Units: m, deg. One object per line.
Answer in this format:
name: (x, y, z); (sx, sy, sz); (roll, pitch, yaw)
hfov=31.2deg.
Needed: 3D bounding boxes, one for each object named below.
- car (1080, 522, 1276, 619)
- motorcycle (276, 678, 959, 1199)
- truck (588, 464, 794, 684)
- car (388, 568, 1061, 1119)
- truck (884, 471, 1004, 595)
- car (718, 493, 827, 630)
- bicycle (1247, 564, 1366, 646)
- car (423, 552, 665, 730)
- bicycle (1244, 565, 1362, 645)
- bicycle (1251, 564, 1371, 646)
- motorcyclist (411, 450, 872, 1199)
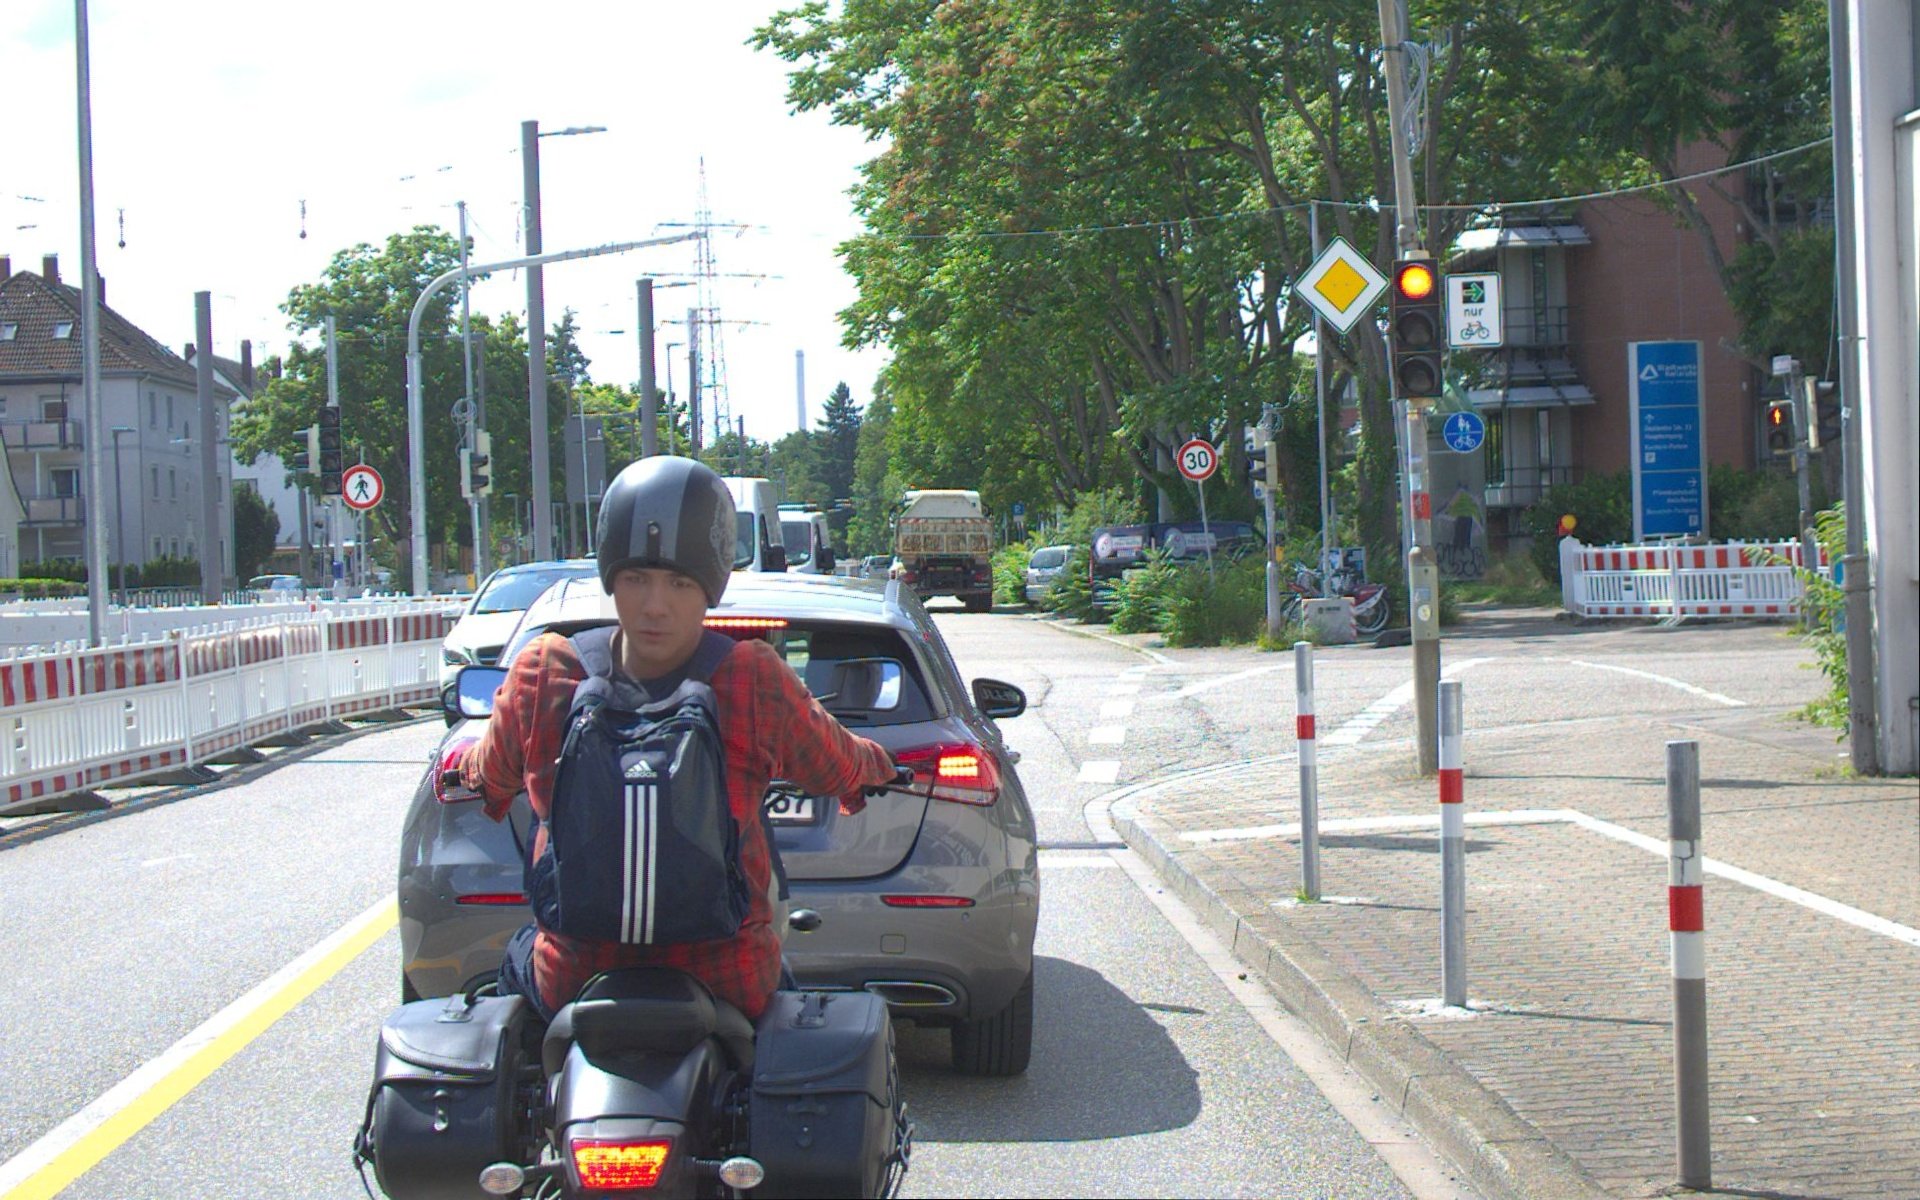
car: (4.446, -0.587, 69.654); (1.802, 1.919, 3.990); (0, 0, 44)
motorcycle: (-0.506, 0.785, 6.006); (0.942, 1.196, 2.473); (0, 1, -1)
truck: (-3.284, -0.404, 42.975); (2.093, 2.468, 5.196); (-3, 2, -1)
car: (-0.812, 0.619, 10.976); (1.731, 1.399, 4.087); (1, 1, -6)
truck: (-0.368, -1.724, 91.369); (2.967, 3.162, 7.764); (0, 0, 1)
car: (-2.992, -0.614, 55.518); (1.589, 2.135, 3.627); (0, 0, -1)
bicycle: (5.033, 0.070, 49.998); (1.708, 1.168, 0.438); (0, 0, 4)
car: (-3.692, 0.339, 31.131); (1.744, 1.432, 4.084); (-2, 0, -1)
bicycle: (5.036, 0.068, 50.560); (1.708, 1.168, 0.438); (0, 0, 4)
bicycle: (5.048, 0.072, 49.465); (1.708, 1.168, 0.438); (0, 0, 4)
motorcyclist: (-0.496, 0.571, 5.598); (0.698, 1.599, 0.692); (0, 0, -1)
